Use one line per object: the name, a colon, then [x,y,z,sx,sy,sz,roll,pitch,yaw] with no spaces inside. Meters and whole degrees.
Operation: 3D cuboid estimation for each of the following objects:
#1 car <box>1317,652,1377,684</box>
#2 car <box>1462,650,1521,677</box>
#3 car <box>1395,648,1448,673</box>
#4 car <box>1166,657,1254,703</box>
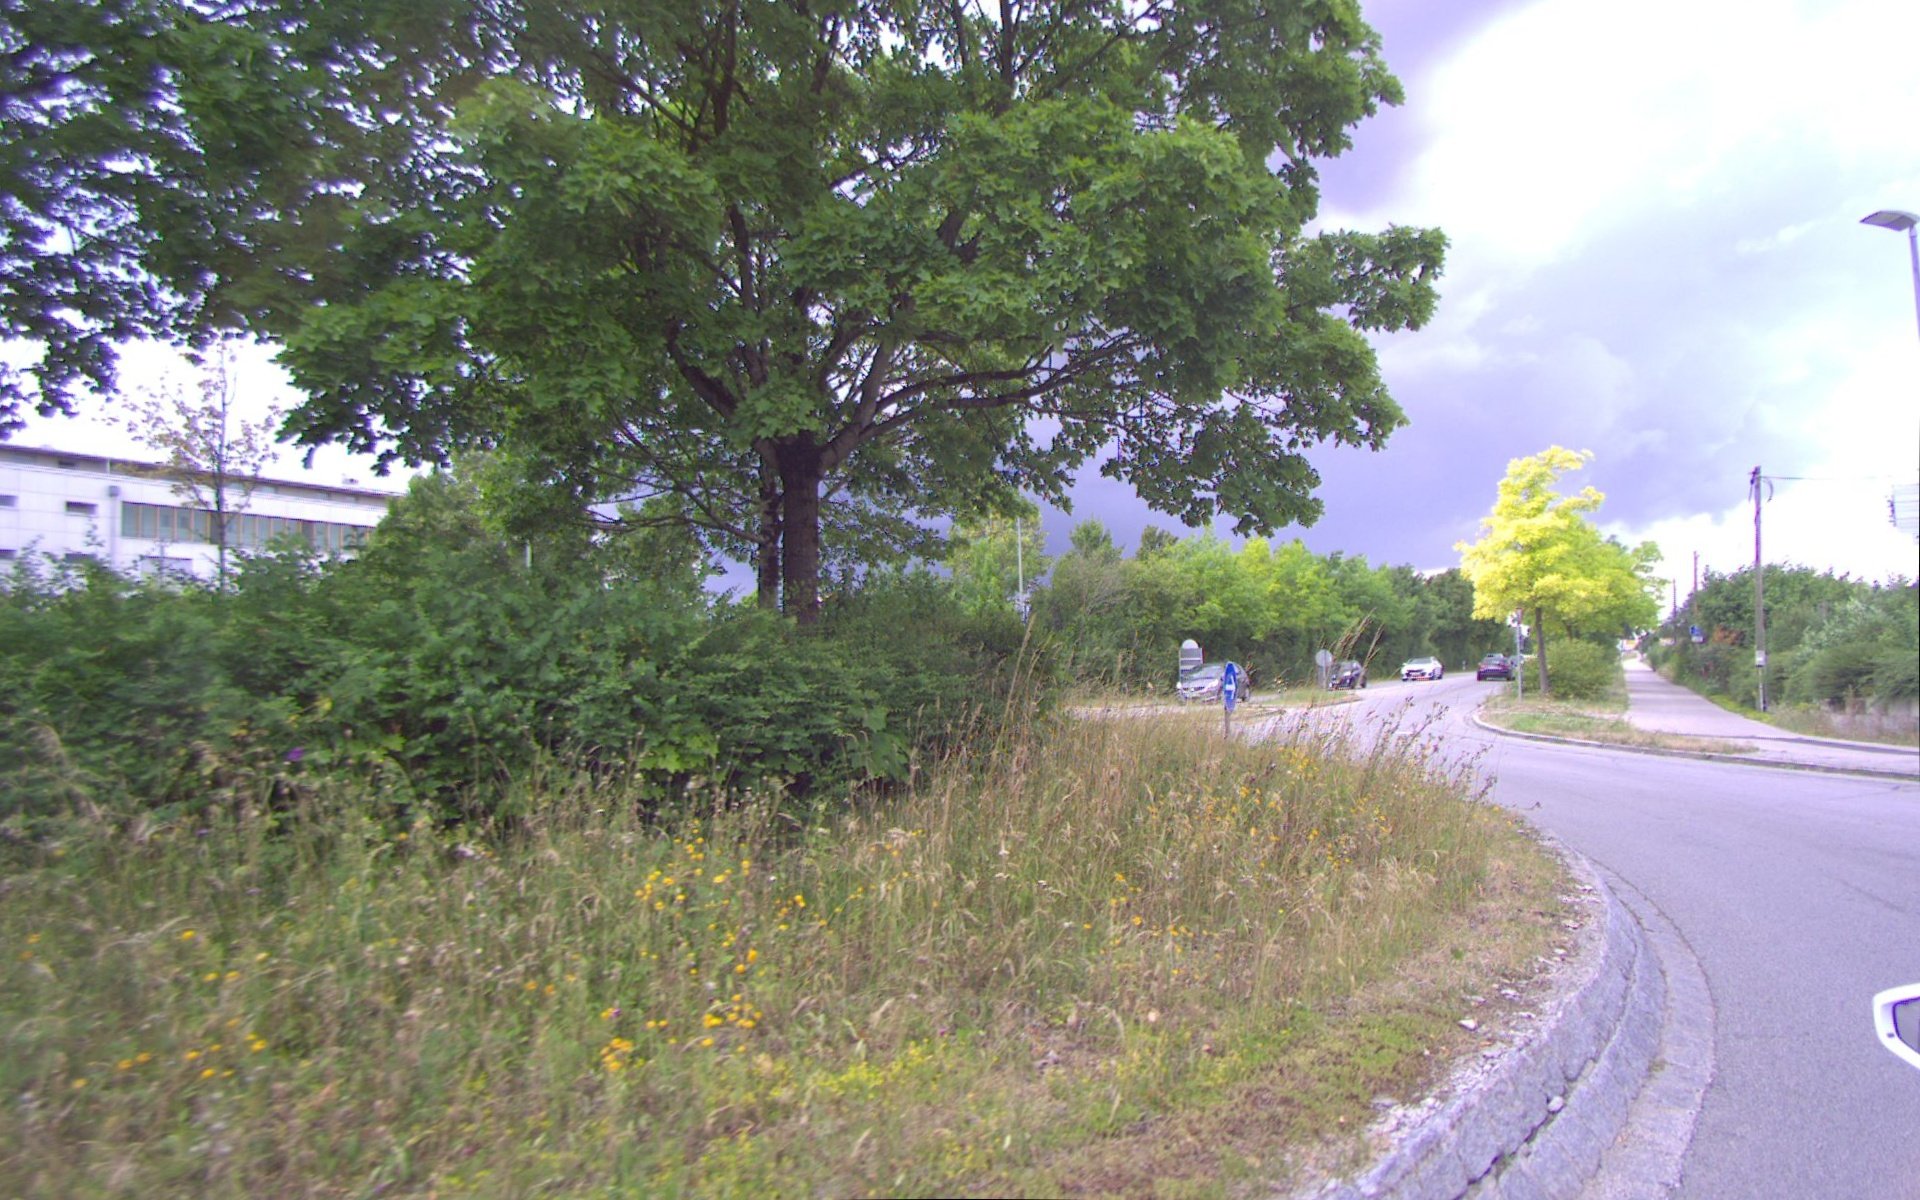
car: [19.706,3.405,51.070,1.662,1.473,3.982,-2,-2,39]
car: [31.818,3.767,60.071,2.184,1.473,4.921,-2,-2,39]
car: [30.087,3.932,65.442,2.185,1.473,4.925,-2,-2,36]
car: [9.101,2.848,36.393,1.661,1.441,3.984,-2,-2,37]
